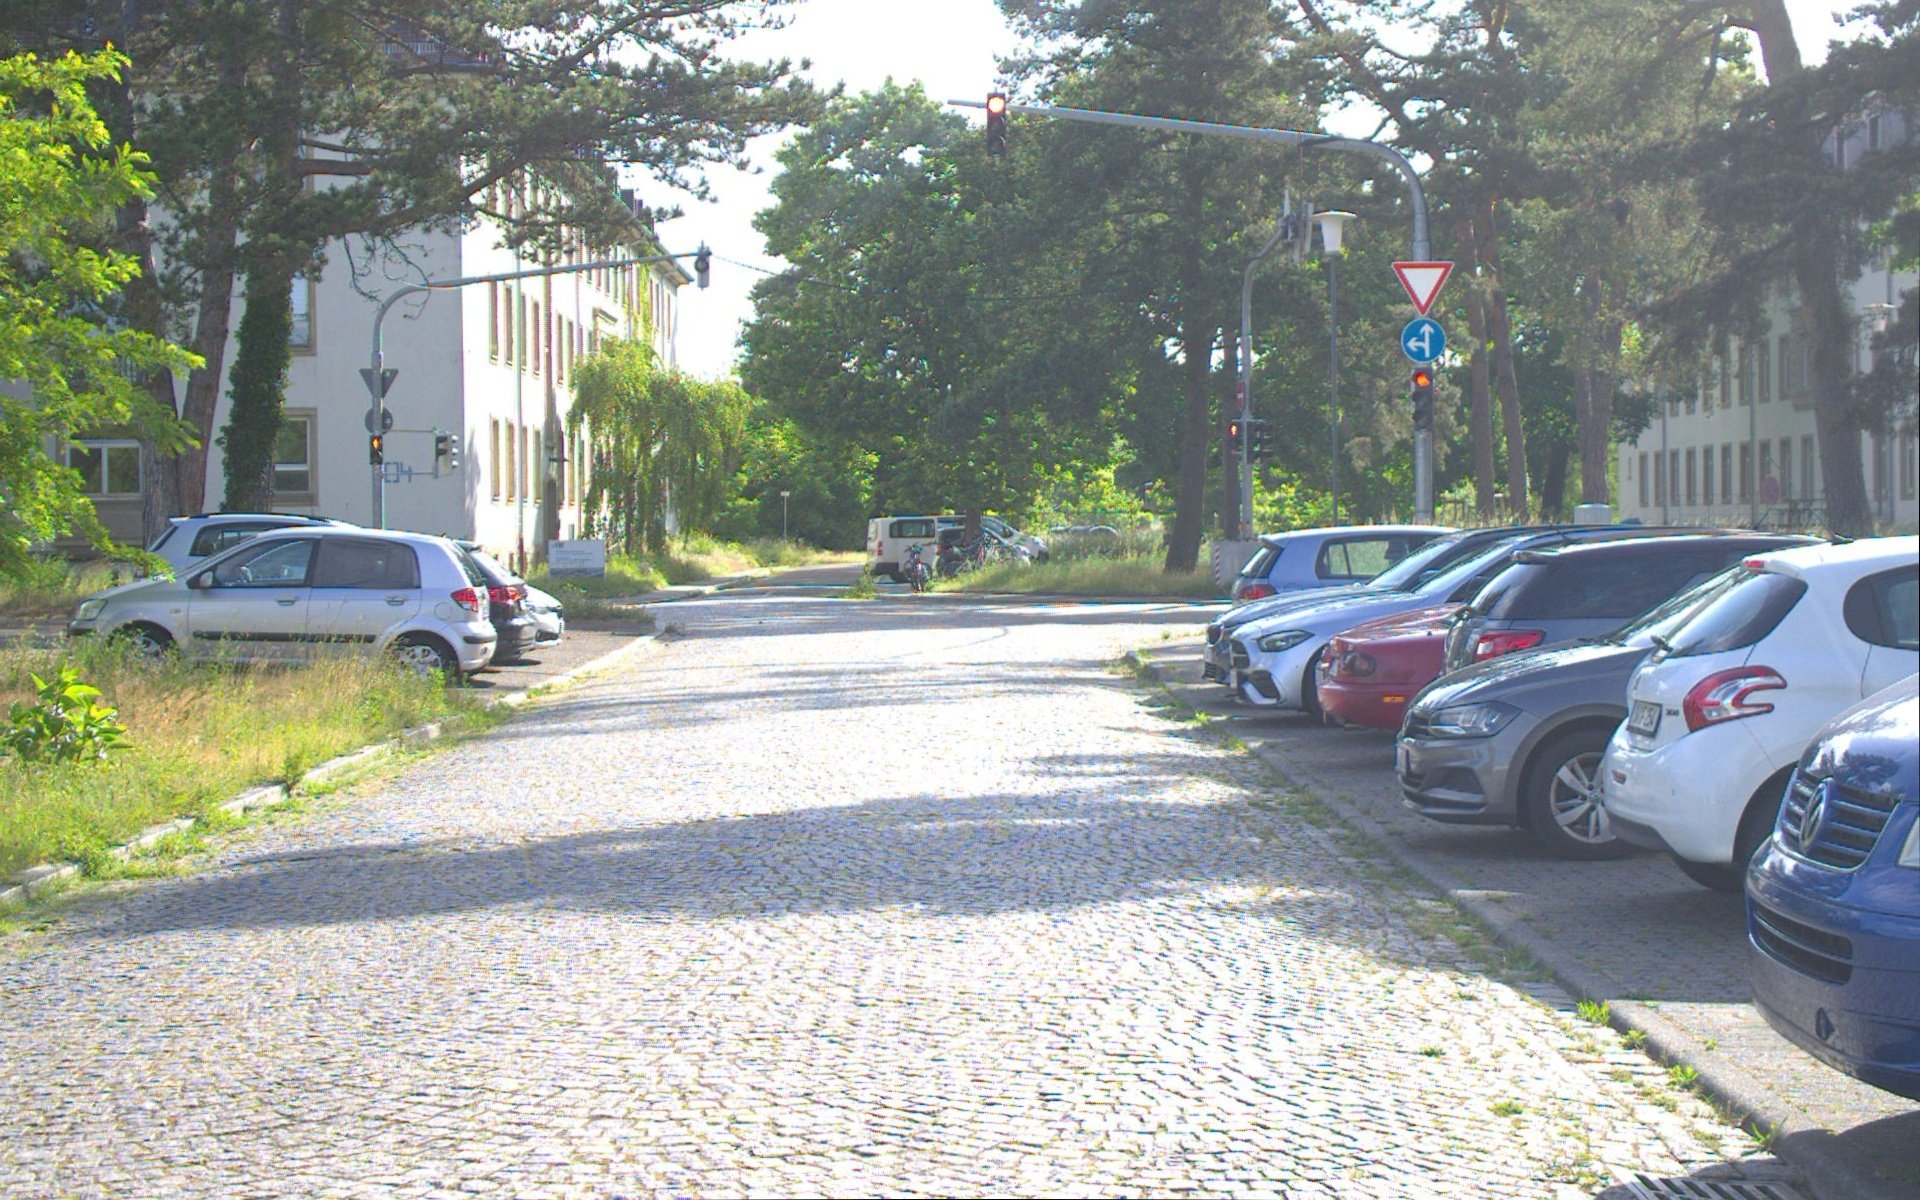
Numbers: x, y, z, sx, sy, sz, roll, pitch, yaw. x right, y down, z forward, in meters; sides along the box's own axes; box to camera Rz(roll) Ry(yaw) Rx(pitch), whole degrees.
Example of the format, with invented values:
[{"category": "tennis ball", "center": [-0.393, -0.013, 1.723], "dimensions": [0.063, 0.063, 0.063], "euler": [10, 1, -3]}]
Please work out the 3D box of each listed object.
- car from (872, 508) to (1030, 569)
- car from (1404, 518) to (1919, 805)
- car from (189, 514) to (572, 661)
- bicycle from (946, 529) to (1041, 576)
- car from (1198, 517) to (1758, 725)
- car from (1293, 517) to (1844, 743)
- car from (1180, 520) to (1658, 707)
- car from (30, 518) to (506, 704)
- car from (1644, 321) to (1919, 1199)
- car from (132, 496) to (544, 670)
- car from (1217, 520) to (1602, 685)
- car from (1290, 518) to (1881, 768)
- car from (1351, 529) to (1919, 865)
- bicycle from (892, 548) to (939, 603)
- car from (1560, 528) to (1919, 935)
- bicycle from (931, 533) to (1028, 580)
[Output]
[{"category": "car", "center": [-0.267, -1.772, 98.562], "dimensions": [4.480, 1.722, 2.000], "euler": [0, 1, -1]}, {"category": "car", "center": [4.381, 0.312, 19.482], "dimensions": [3.478, 1.524, 1.646], "euler": [0, 1, -2]}, {"category": "car", "center": [-6.535, -0.159, 39.111], "dimensions": [3.987, 1.448, 2.000], "euler": [3, 1, -1]}, {"category": "bicycle", "center": [0.797, -1.139, 82.254], "dimensions": [2.172, 1.096, 0.807], "euler": [0, 1, -10]}, {"category": "car", "center": [3.968, 0.135, 26.711], "dimensions": [4.033, 1.524, 1.646], "euler": [-1, 1, -4]}, {"category": "car", "center": [4.283, 0.187, 24.530], "dimensions": [3.602, 1.524, 1.646], "euler": [0, 1, -2]}, {"category": "car", "center": [3.883, 0.091, 29.482], "dimensions": [3.835, 1.524, 1.646], "euler": [0, 1, -2]}, {"category": "car", "center": [-6.230, 0.071, 31.324], "dimensions": [3.986, 1.595, 2.000], "euler": [0, 1, -3]}, {"category": "car", "center": [4.265, 0.365, 8.475], "dimensions": [4.676, 2.007, 2.084], "euler": [-1, 1, -3]}, {"category": "car", "center": [-6.577, -0.202, 36.709], "dimensions": [3.987, 1.596, 2.000], "euler": [3, 1, -1]}, {"category": "car", "center": [4.154, 0.002, 32.122], "dimensions": [3.343, 1.477, 1.646], "euler": [0, 1, -2]}, {"category": "car", "center": [3.967, 0.246, 22.172], "dimensions": [3.478, 1.524, 1.646], "euler": [0, 1, -2]}, {"category": "car", "center": [3.848, 0.417, 16.563], "dimensions": [3.675, 1.462, 1.646], "euler": [-1, 1, -2]}, {"category": "bicycle", "center": [-1.013, -0.568, 77.646], "dimensions": [0.804, 1.165, 2.181], "euler": [-2, 2, -6]}, {"category": "car", "center": [4.400, 0.436, 13.676], "dimensions": [3.694, 1.460, 1.645], "euler": [-2, 1, 0]}, {"category": "bicycle", "center": [0.446, -1.023, 81.102], "dimensions": [2.172, 1.096, 0.807], "euler": [0, 1, -10]}]
